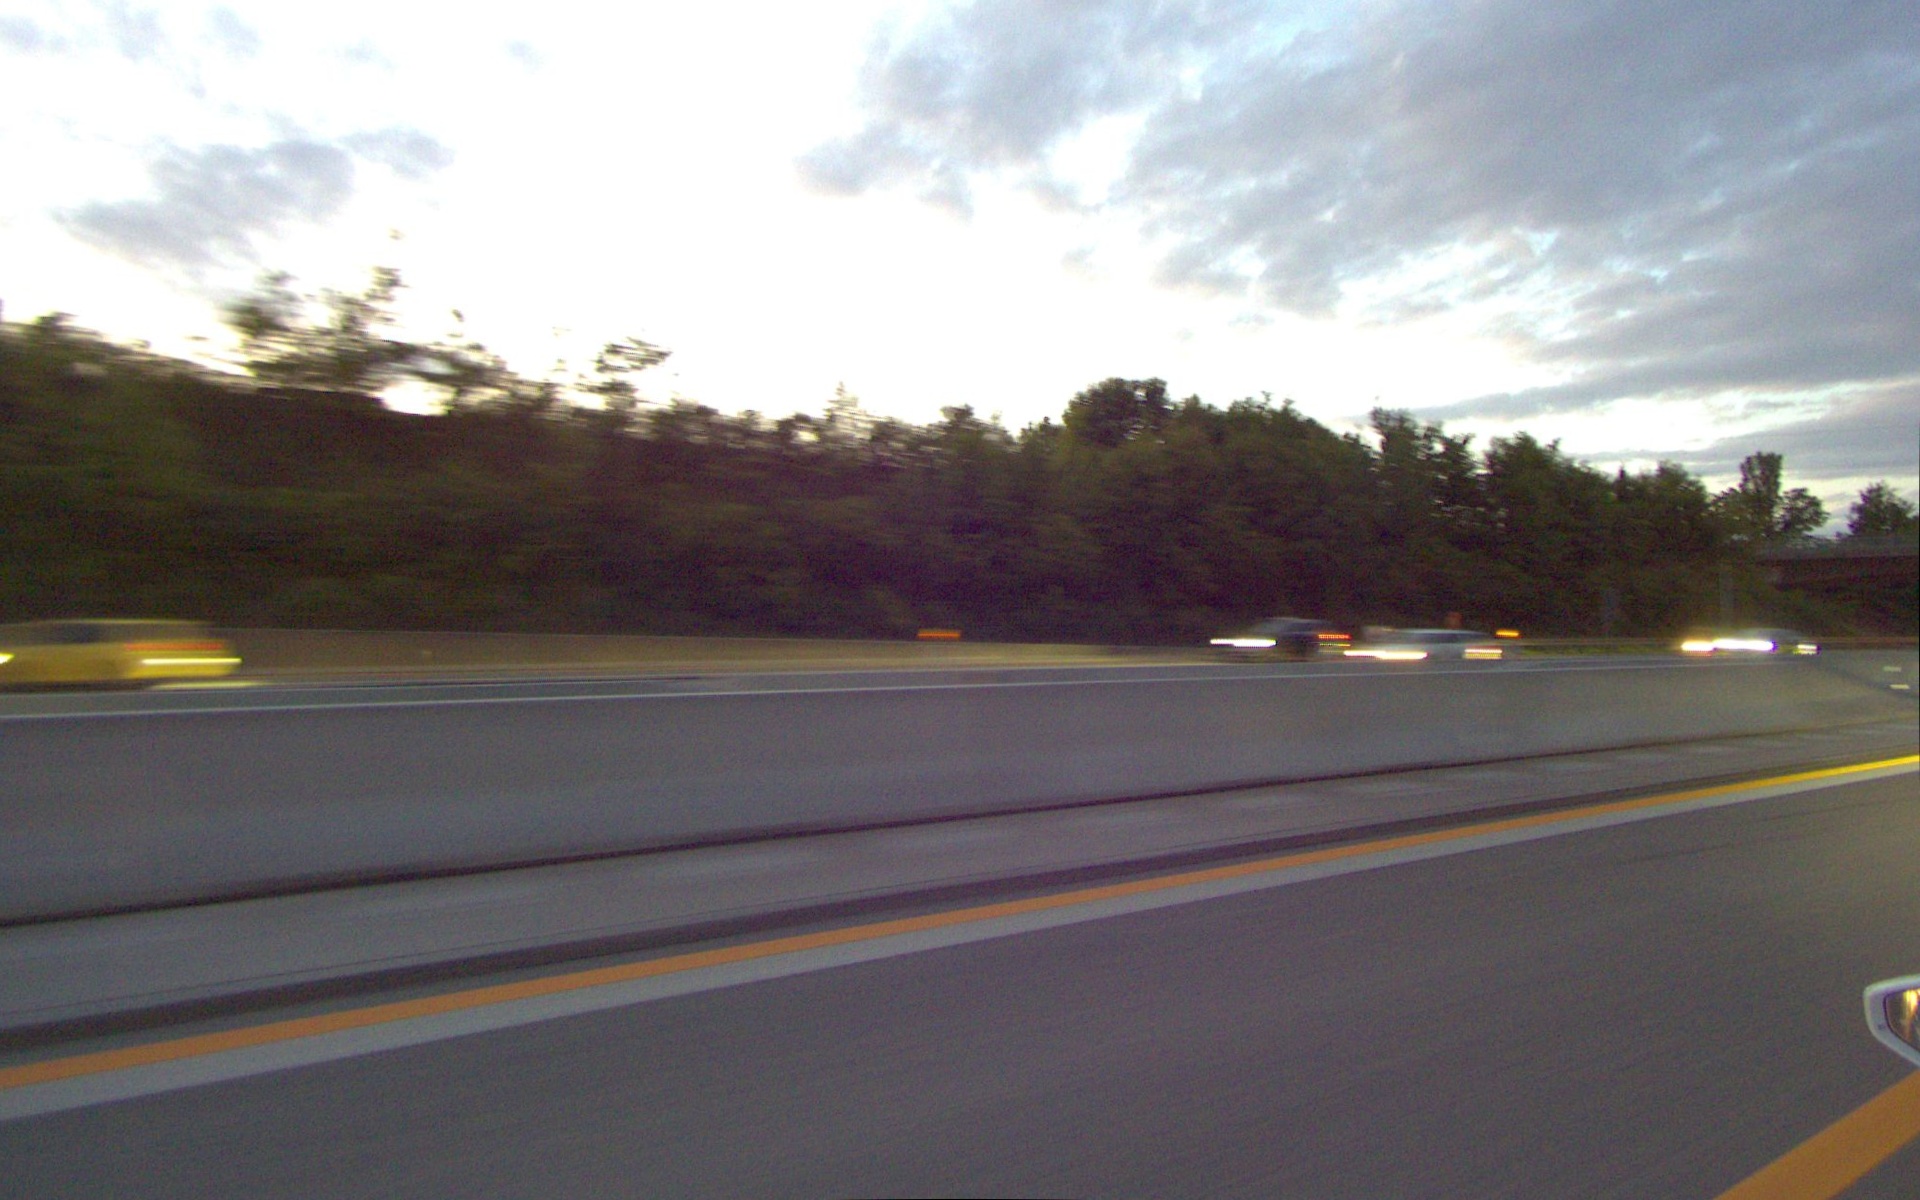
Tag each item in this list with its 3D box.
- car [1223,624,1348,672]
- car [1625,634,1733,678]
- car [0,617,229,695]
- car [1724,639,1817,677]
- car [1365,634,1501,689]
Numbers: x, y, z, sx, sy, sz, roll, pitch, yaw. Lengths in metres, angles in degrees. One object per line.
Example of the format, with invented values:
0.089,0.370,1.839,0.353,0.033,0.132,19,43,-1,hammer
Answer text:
12.446,1.840,38.346,4.693,1.660,1.796,2,0,-29,car
29.972,2.329,41.845,4.693,1.660,1.796,2,0,-29,car
-18.863,1.193,21.773,4.644,1.505,1.817,2,0,-29,car
39.885,2.843,49.387,5.107,1.660,1.729,2,0,-29,car
15.951,2.042,33.808,4.693,1.660,1.672,2,0,-29,car
